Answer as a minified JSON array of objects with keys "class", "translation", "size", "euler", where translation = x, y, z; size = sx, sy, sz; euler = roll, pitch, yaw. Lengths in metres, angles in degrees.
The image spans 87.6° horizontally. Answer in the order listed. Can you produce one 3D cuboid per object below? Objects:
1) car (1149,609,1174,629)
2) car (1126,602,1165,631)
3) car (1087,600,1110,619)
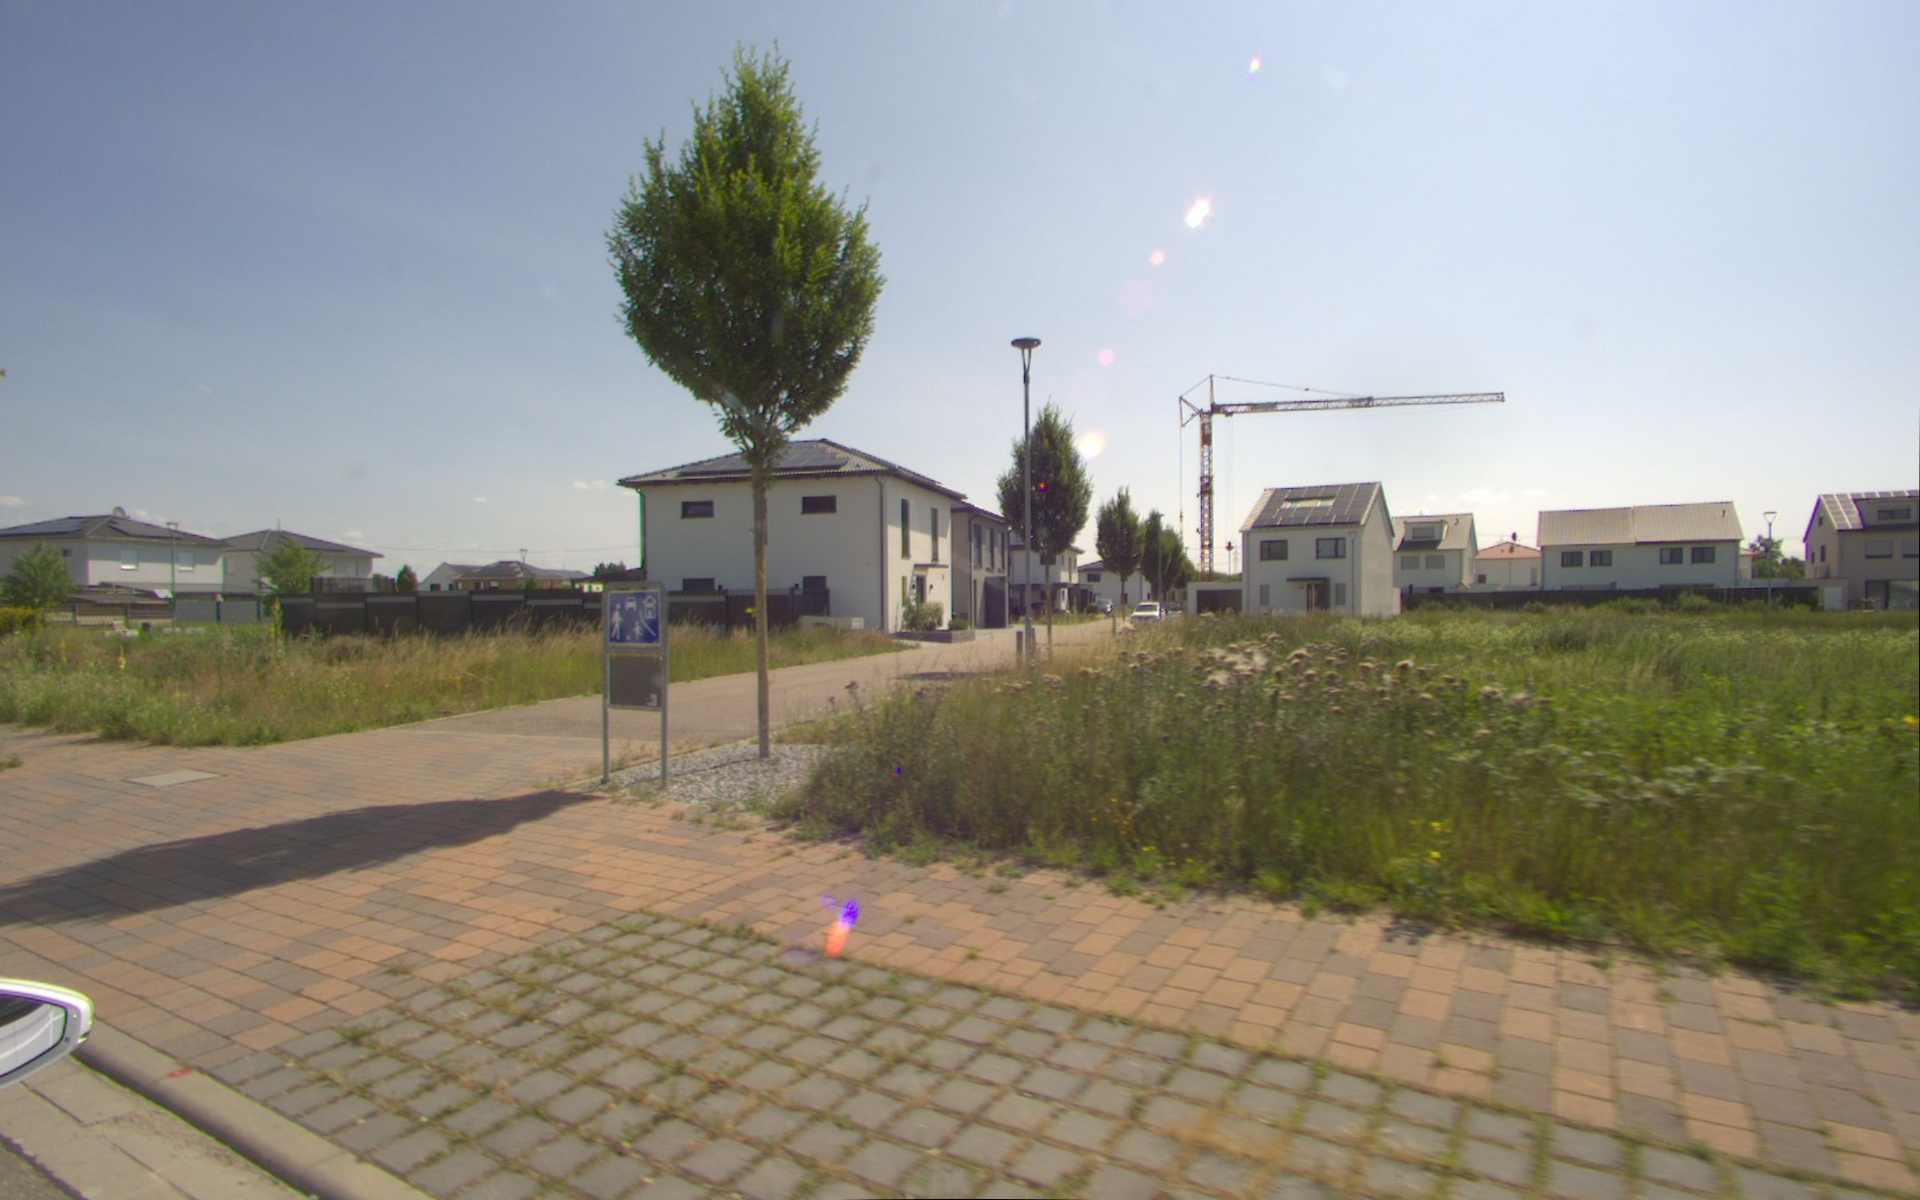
[{"class":"car","translation":[15.998,1.498,79.416],"size":[1.710,1.461,3.826],"euler":[0,0,15]},{"class":"car","translation":[9.674,0.832,52.001],"size":[1.710,1.461,3.826],"euler":[0,0,15]},{"class":"car","translation":[11.510,0.772,83.099],"size":[1.564,1.510,3.368],"euler":[0,0,14]}]
